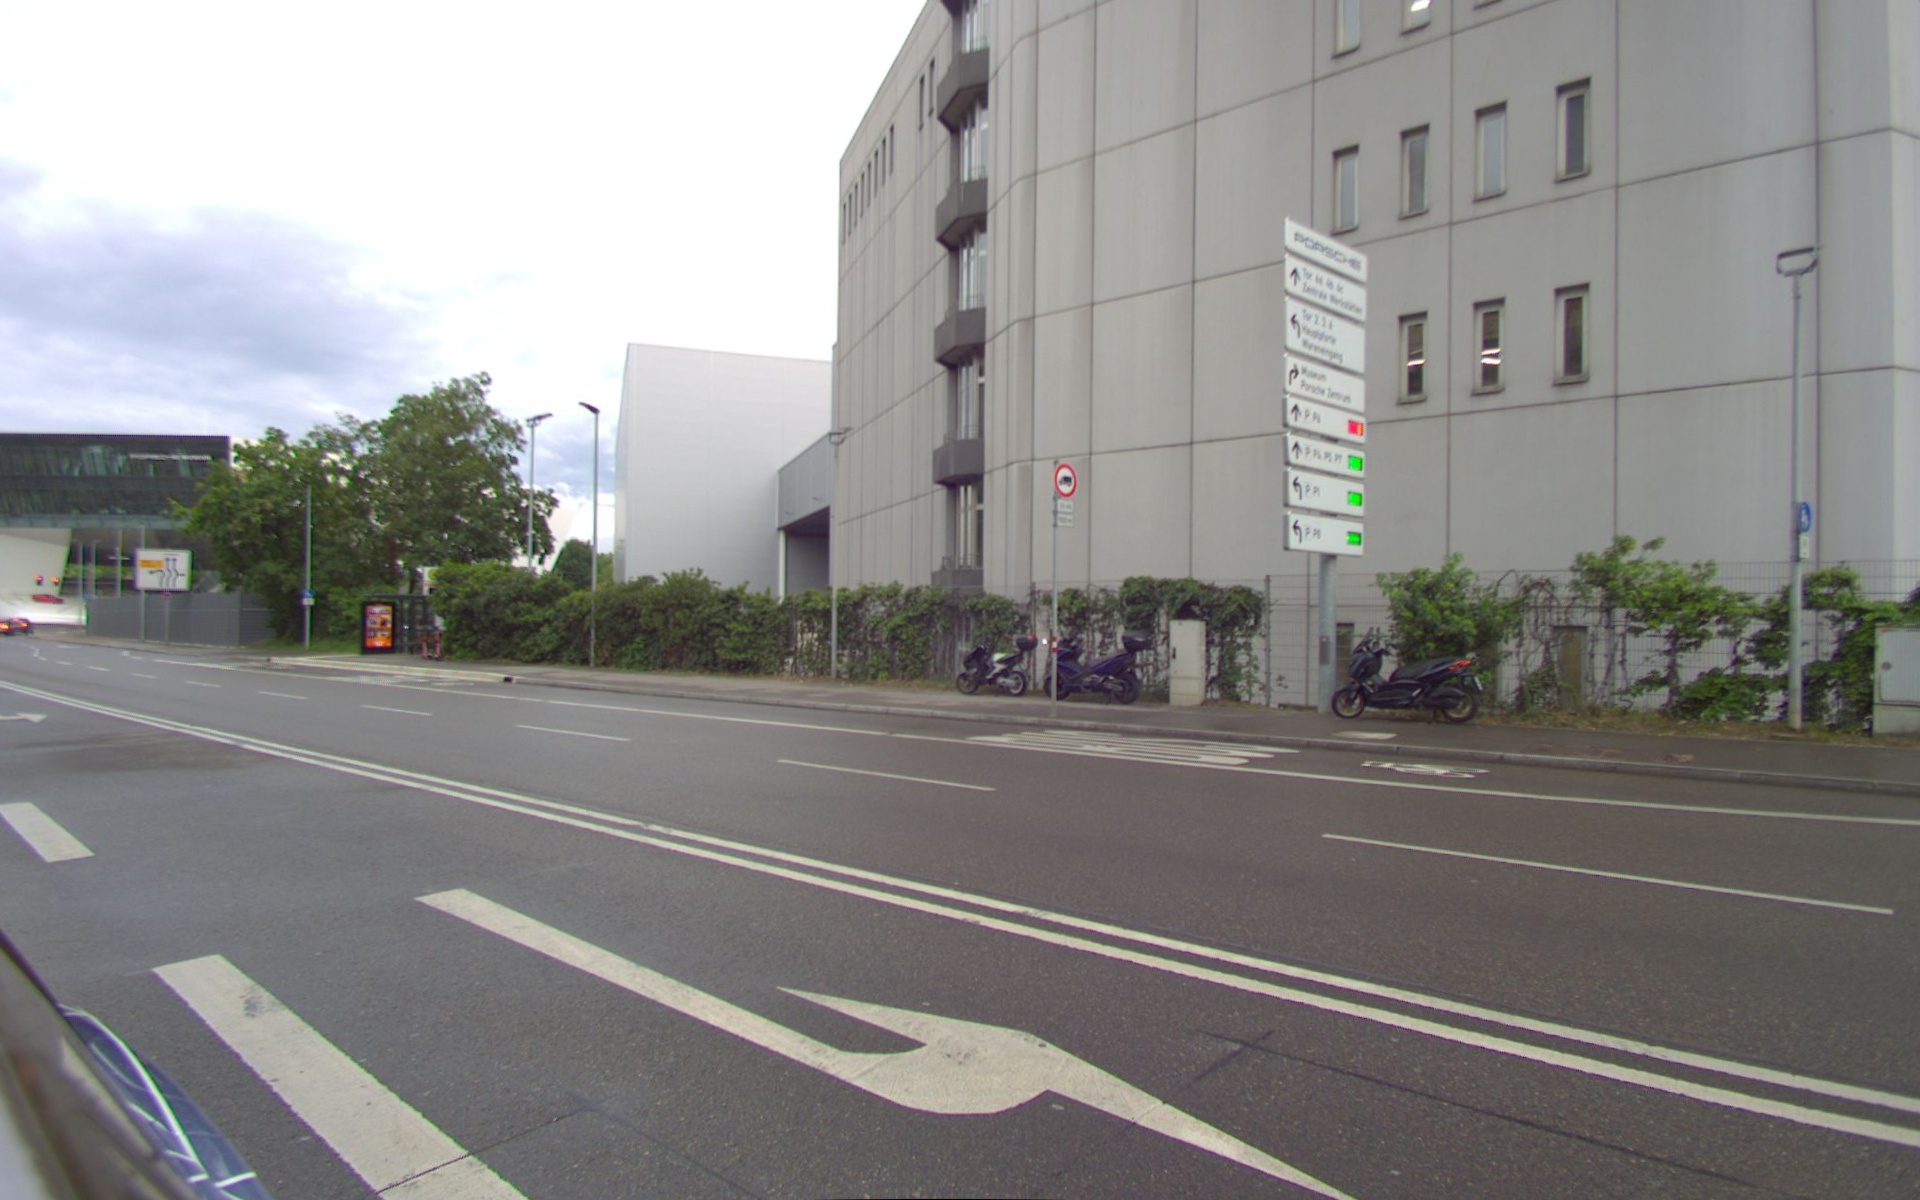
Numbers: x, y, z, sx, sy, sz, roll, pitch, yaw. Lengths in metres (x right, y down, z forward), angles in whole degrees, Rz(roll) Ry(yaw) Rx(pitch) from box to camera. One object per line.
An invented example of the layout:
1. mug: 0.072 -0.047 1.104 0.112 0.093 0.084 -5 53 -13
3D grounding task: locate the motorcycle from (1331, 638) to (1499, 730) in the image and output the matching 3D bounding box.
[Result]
1. motorcycle: 6.773 1.208 15.140 2.156 1.257 0.776 -1 -2 40

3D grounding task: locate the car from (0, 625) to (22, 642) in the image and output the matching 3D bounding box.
1. car: -84.365 2.919 88.840 2.233 1.488 4.059 1 -1 -32

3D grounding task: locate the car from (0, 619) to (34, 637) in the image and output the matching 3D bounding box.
1. car: -88.543 2.637 94.797 1.834 1.663 3.799 1 -2 -30

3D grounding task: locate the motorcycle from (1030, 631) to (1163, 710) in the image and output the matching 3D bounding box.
1. motorcycle: 2.463 1.251 18.521 2.368 1.358 0.776 -1 -2 40

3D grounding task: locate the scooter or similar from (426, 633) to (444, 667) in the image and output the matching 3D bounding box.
1. scooter or similar: -18.984 1.797 36.595 0.373 1.190 1.380 1 -2 -36

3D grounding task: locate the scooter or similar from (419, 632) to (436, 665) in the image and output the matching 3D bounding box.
1. scooter or similar: -19.859 1.814 37.748 0.383 1.189 1.253 1 -2 -36

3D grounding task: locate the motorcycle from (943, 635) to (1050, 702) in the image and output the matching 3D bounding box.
1. motorcycle: 0.714 1.337 20.352 2.156 1.260 0.776 -1 -2 40
